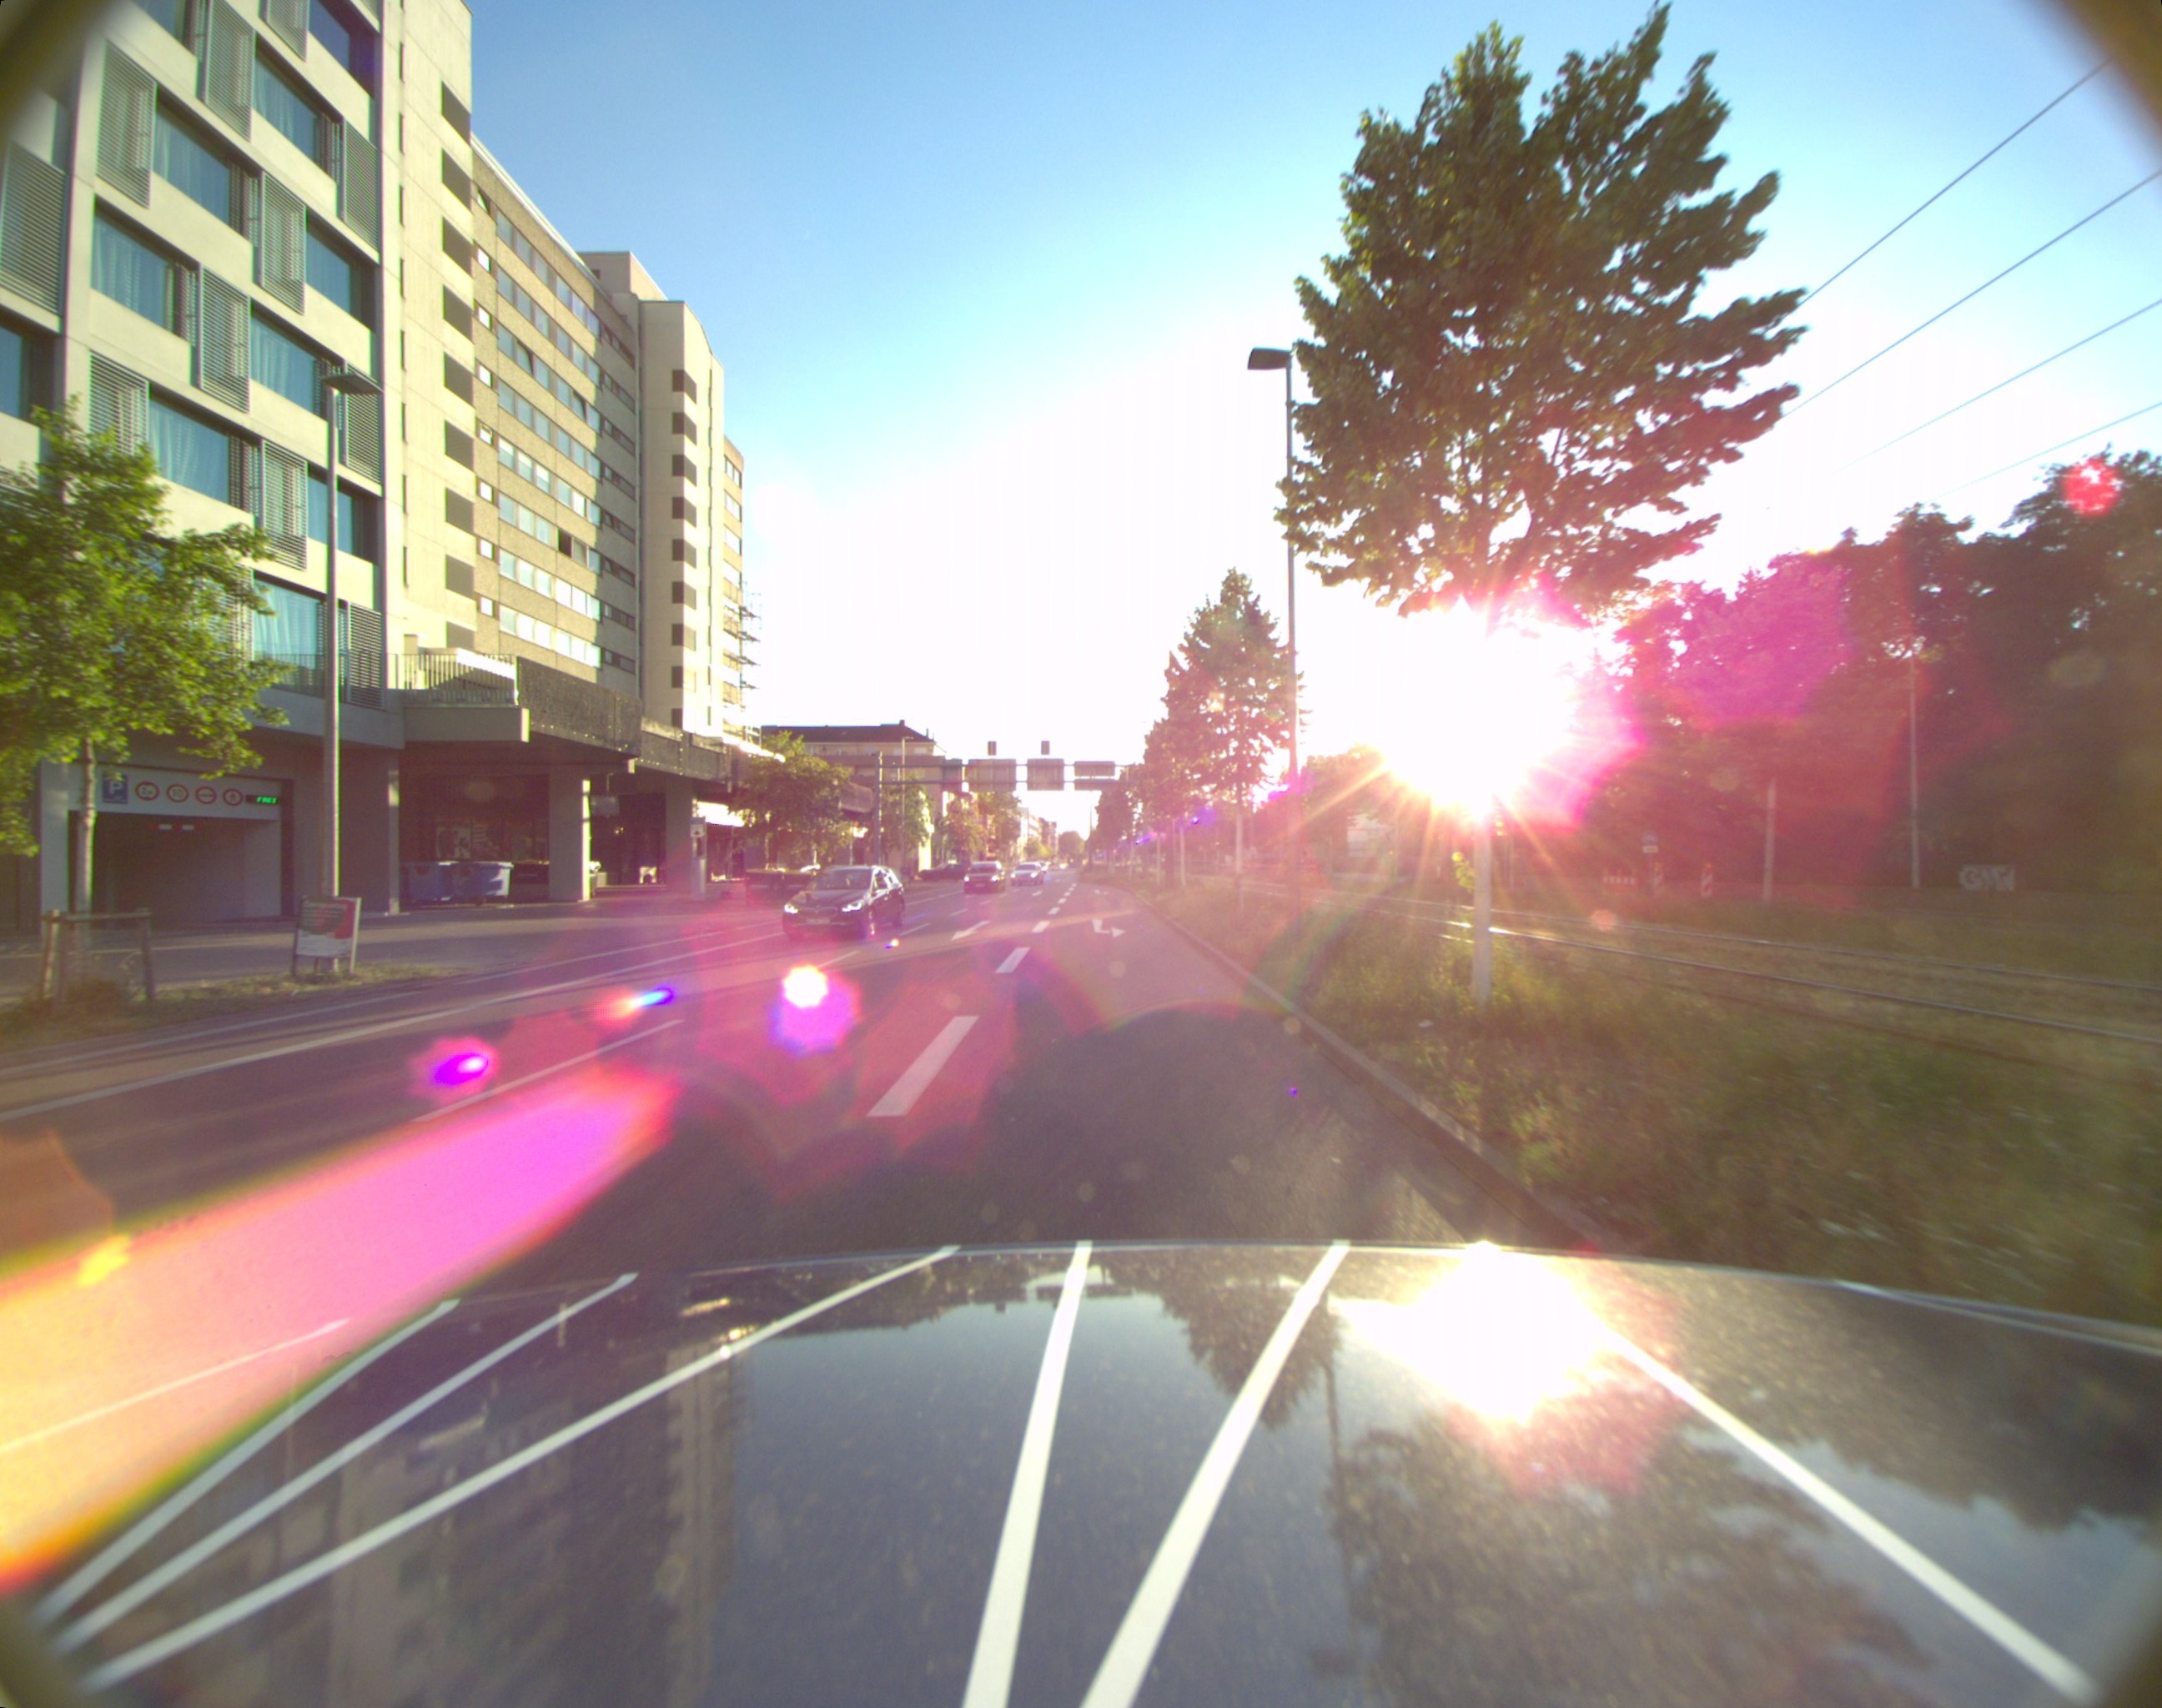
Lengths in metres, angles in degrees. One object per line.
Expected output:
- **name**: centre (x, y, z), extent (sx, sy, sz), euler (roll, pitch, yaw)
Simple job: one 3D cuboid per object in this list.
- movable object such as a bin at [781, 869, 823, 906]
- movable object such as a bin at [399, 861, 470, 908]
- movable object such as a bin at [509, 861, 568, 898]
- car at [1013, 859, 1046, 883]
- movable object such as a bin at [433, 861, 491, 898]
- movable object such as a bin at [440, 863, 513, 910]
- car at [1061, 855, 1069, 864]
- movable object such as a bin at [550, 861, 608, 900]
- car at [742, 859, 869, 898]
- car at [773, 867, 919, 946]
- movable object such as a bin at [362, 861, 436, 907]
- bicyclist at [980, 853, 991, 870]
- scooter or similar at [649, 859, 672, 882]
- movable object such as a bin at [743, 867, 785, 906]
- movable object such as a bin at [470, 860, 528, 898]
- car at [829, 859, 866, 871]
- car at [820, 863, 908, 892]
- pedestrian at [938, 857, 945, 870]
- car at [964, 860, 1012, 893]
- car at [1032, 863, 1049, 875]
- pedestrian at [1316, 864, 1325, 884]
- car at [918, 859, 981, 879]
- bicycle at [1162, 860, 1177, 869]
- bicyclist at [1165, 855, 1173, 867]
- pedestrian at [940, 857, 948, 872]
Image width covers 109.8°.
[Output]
- **movable object such as a bin**: centre (-10.172, 1.210, 27.793), extent (1.088, 1.294, 1.360), euler (2, 0, -5)
- **movable object such as a bin**: centre (-19.200, 0.888, 22.612), extent (1.076, 1.322, 1.202), euler (1, 0, 0)
- **movable object such as a bin**: centre (-19.322, 0.896, 27.085), extent (1.184, 1.291, 1.304), euler (0, 0, -1)
- **car**: centre (-3.423, 1.112, 50.867), extent (1.832, 1.455, 4.303), euler (-2, 0, 0)
- **movable object such as a bin**: centre (-21.975, 0.888, 27.001), extent (1.184, 1.305, 1.088), euler (0, 0, -1)
- **movable object such as a bin**: centre (-18.058, 0.953, 22.730), extent (1.107, 1.322, 1.283), euler (2, 0, 0)
- **car**: centre (-3.546, 1.197, 168.857), extent (1.727, 1.909, 4.293), euler (-2, 0, -3)
- **movable object such as a bin**: centre (-17.964, 0.932, 27.211), extent (1.184, 1.315, 1.266), euler (3, 0, -1)
- **car**: centre (-11.671, 1.058, 32.389), extent (4.679, 1.499, 1.934), euler (2, 0, -39)
- **car**: centre (-5.307, 1.114, 17.887), extent (1.825, 1.510, 4.792), euler (-2, 0, 1)
- **movable object such as a bin**: centre (-20.308, 0.877, 22.666), extent (1.035, 1.322, 1.283), euler (1, 0, 0)
- **bicyclist**: centre (-9.646, 0.784, 76.935), extent (0.821, 1.682, 0.959), euler (1, 0, -27)
- **scooter or similar**: centre (-21.915, 0.854, 39.604), extent (0.402, 1.154, 1.829), euler (-2, 0, -9)
- **movable object such as a bin**: centre (-11.534, 1.177, 27.677), extent (1.017, 1.339, 1.160), euler (3, 0, -4)
- **movable object such as a bin**: centre (-20.709, 0.881, 27.065), extent (1.184, 1.305, 1.124), euler (0, 0, -1)
- **car**: centre (-29.537, 1.356, 96.212), extent (4.226, 1.432, 1.655), euler (0, 3, -4)
- **car**: centre (-11.196, 1.229, 39.264), extent (3.999, 1.408, 1.746), euler (2, 0, -37)
- **pedestrian**: centre (-18.115, 1.258, 98.726), extent (0.821, 1.606, 0.766), euler (0, 1, 2)
- **car**: centre (-4.885, 1.130, 40.432), extent (1.827, 1.589, 4.367), euler (-2, 0, 2)
- **car**: centre (-4.720, 1.746, 89.214), extent (1.863, 1.387, 4.276), euler (-2, 0, -3)
- **pedestrian**: centre (19.904, 1.689, 63.111), extent (0.670, 1.597, 0.679), euler (-2, -4, 15)
- **car**: centre (-10.479, 1.208, 60.734), extent (4.617, 1.444, 1.808), euler (2, -1, -40)
- **bicycle**: centre (12.216, 1.486, 105.311), extent (1.893, 1.126, 0.718), euler (-2, 0, 35)
- **bicyclist**: centre (12.197, 0.997, 105.308), extent (0.942, 1.611, 0.718), euler (-2, 0, 35)
- **pedestrian**: centre (-17.646, 1.324, 97.988), extent (0.840, 1.849, 0.544), euler (0, 1, 1)
